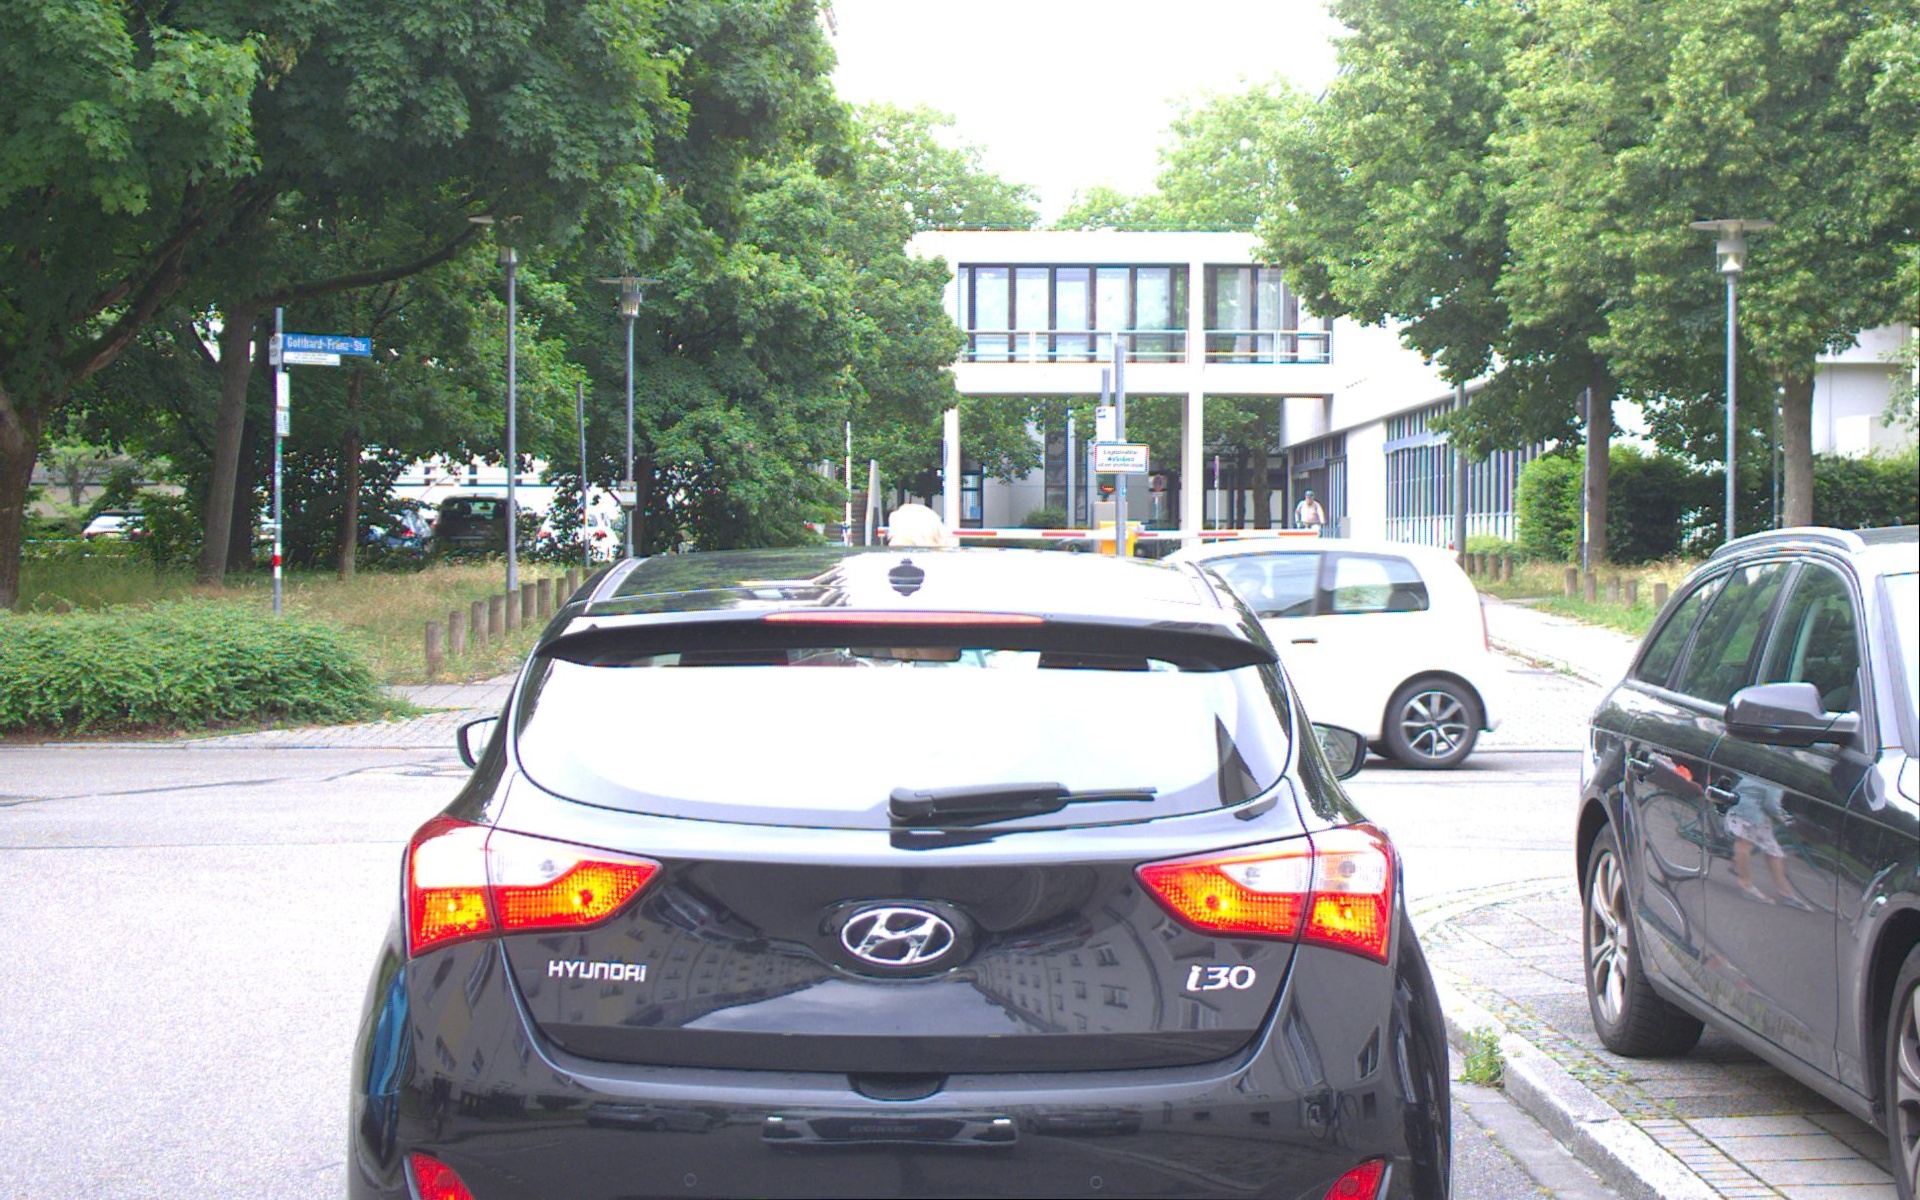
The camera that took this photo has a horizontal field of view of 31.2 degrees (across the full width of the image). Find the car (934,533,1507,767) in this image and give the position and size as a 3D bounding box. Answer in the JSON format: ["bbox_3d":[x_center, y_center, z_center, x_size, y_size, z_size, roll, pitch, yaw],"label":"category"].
[{"bbox_3d":[1.625,0.301,22.246,3.532,1.432,1.567,0,2,-2],"label":"car"}]

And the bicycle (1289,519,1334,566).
[{"bbox_3d":[8.317,-1.358,81.329,0.866,1.071,2.142,0,2,1],"label":"bicycle"}]

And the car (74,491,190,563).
[{"bbox_3d":[-19.124,-1.698,79.542,1.993,1.612,4.001,0,1,-4],"label":"car"}]

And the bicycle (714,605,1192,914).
[{"bbox_3d":[-0.036,0.618,13.696,1.812,1.115,0.538,-2,2,-8],"label":"bicycle"}]

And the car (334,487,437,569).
[{"bbox_3d":[-13.298,-1.643,79.790,1.993,1.788,4.000,0,0,-4],"label":"car"}]

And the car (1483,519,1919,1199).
[{"bbox_3d":[2.608,0.549,8.018,1.860,1.457,4.726,-1,1,-2],"label":"car"}]

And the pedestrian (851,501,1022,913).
[{"bbox_3d":[-0.095,0.399,13.269,0.565,1.544,0.448,-2,2,-7],"label":"pedestrian"}]

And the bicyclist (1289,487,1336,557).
[{"bbox_3d":[8.339,-1.859,81.402,1.017,1.639,0.923,0,2,1],"label":"bicyclist"}]

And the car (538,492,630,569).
[{"bbox_3d":[-8.702,-1.595,79.843,1.993,1.756,4.001,0,1,-4],"label":"car"}]

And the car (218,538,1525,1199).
[{"bbox_3d":[-0.211,0.617,6.794,1.846,1.457,3.828,1,1,-3],"label":"car"}]
